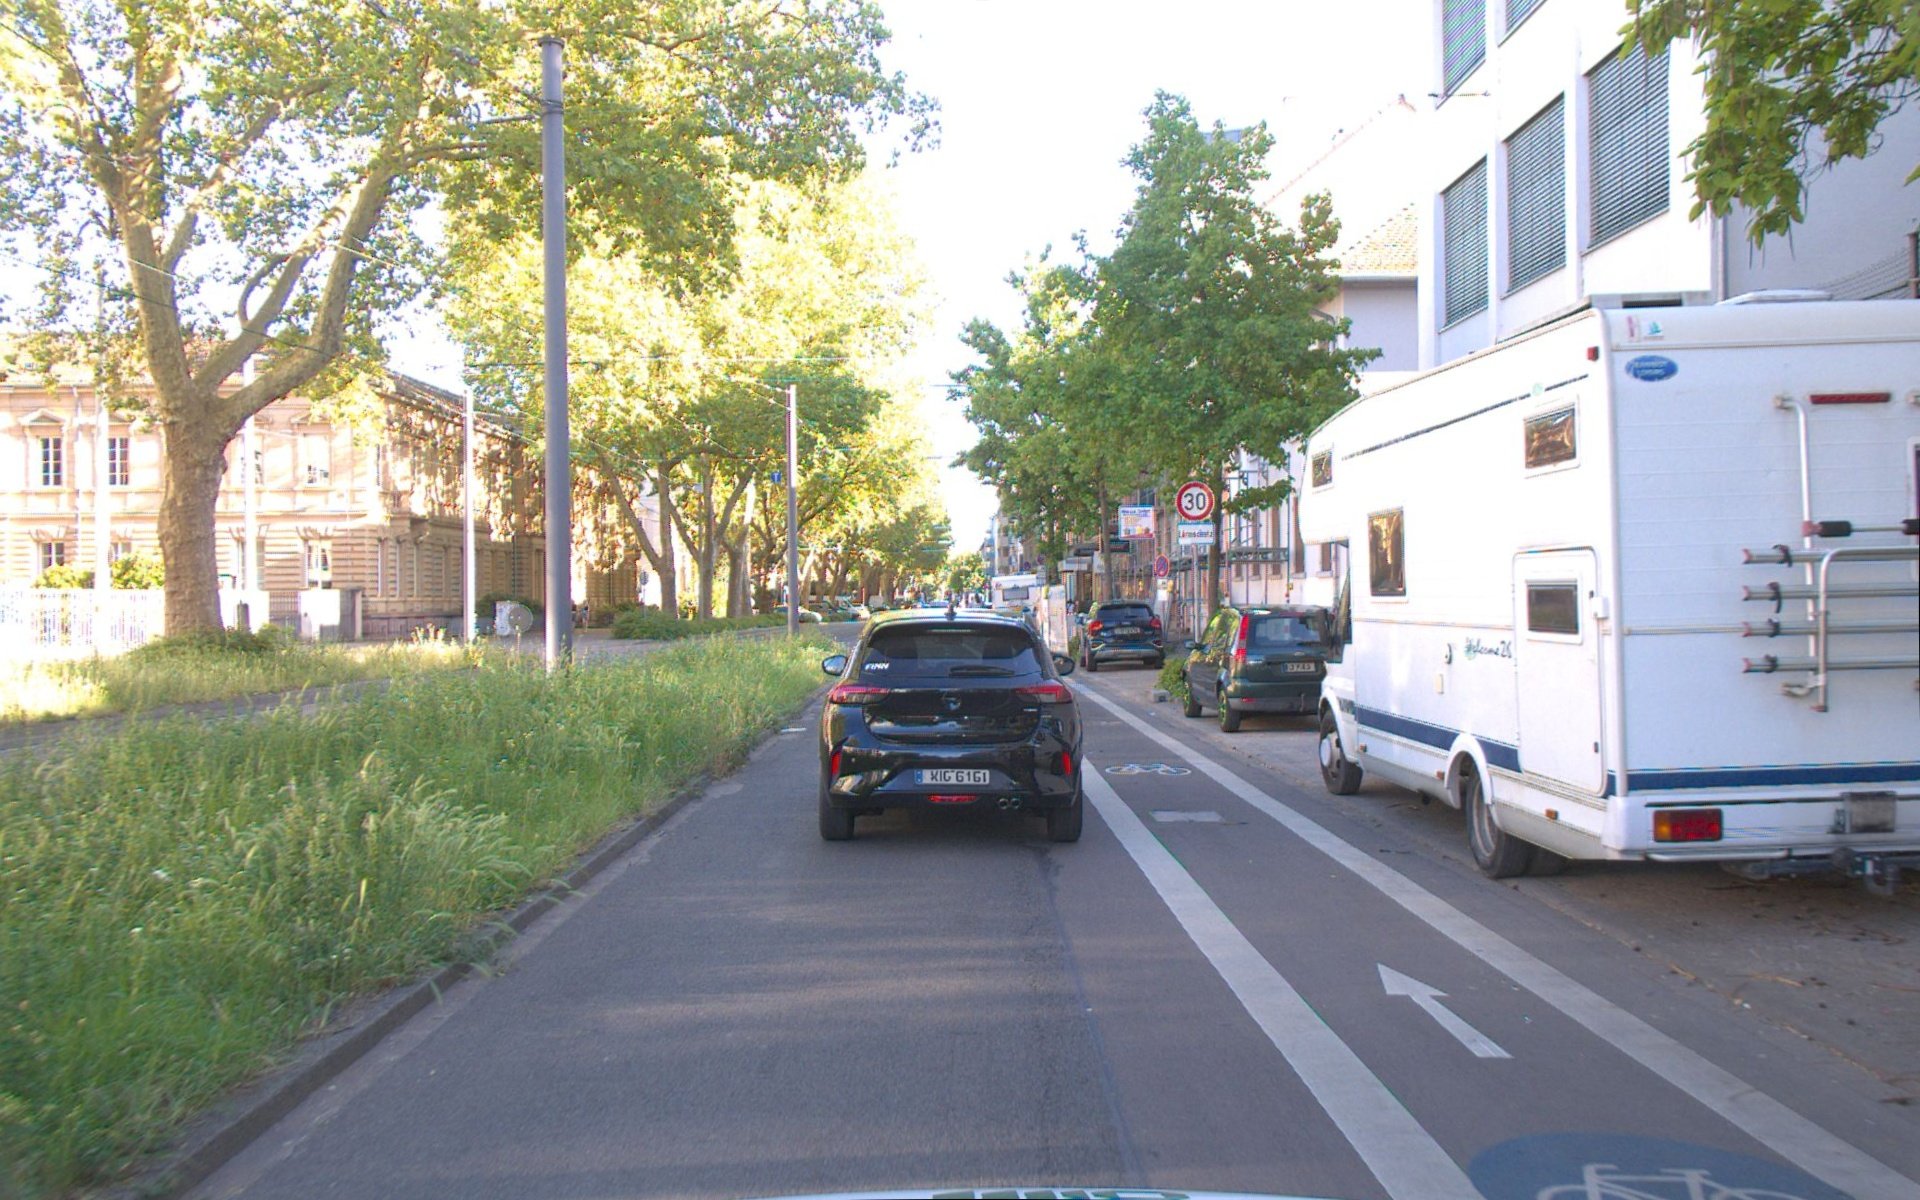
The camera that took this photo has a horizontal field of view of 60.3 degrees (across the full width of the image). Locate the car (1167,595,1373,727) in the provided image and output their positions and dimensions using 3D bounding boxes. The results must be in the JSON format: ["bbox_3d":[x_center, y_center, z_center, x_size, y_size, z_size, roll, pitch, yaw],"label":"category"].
[{"bbox_3d":[3.752,0.686,20.650,1.652,1.445,4.047,-1,0,-2],"label":"car"}]

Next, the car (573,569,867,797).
[{"bbox_3d":[-1.921,0.624,14.608,1.953,1.656,4.469,2,0,-1],"label":"car"}]

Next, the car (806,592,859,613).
[{"bbox_3d":[-13.813,0.255,179.680,5.571,2.236,2.289,-1,0,0],"label":"car"}]

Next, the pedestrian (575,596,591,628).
[{"bbox_3d":[-19.517,0.630,85.611,0.645,1.650,0.615,1,0,-1],"label":"pedestrian"}]

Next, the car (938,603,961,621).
[{"bbox_3d":[-0.886,1.026,139.948,1.865,1.450,4.216,-1,0,1],"label":"car"}]

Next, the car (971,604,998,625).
[{"bbox_3d":[1.782,1.044,117.871,1.865,1.450,4.216,-1,0,1],"label":"car"}]

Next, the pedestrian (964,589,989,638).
[{"bbox_3d":[0.698,0.563,69.530,1.015,2.059,1.212,0,0,-1],"label":"pedestrian"}]

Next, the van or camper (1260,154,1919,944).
[{"bbox_3d":[3.904,-0.245,10.601,2.327,3.179,7.549,-3,0,-1],"label":"van or camper"}]

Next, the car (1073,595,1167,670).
[{"bbox_3d":[3.580,0.696,37.605,1.753,1.536,3.874,-2,0,0],"label":"car"}]

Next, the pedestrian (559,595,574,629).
[{"bbox_3d":[-20.311,0.614,85.328,0.605,1.764,0.596,1,0,-1],"label":"pedestrian"}]

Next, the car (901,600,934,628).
[{"bbox_3d":[-2.509,0.834,97.952,1.753,1.536,3.874,-2,0,0],"label":"car"}]

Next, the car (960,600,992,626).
[{"bbox_3d":[0.954,0.762,98.410,1.865,1.450,4.216,-1,0,1],"label":"car"}]

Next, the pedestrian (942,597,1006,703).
[{"bbox_3d":[0.211,0.759,25.473,0.950,1.590,0.971,0,0,-1],"label":"pedestrian"}]

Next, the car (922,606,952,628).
[{"bbox_3d":[-1.541,1.141,112.895,1.865,1.450,4.216,-1,0,1],"label":"car"}]

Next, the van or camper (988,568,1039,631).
[{"bbox_3d":[2.686,-0.036,83.914,2.435,3.046,5.434,1,0,1],"label":"van or camper"}]

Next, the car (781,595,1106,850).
[{"bbox_3d":[-0.055,0.699,11.657,1.865,1.450,4.216,-1,0,1],"label":"car"}]
